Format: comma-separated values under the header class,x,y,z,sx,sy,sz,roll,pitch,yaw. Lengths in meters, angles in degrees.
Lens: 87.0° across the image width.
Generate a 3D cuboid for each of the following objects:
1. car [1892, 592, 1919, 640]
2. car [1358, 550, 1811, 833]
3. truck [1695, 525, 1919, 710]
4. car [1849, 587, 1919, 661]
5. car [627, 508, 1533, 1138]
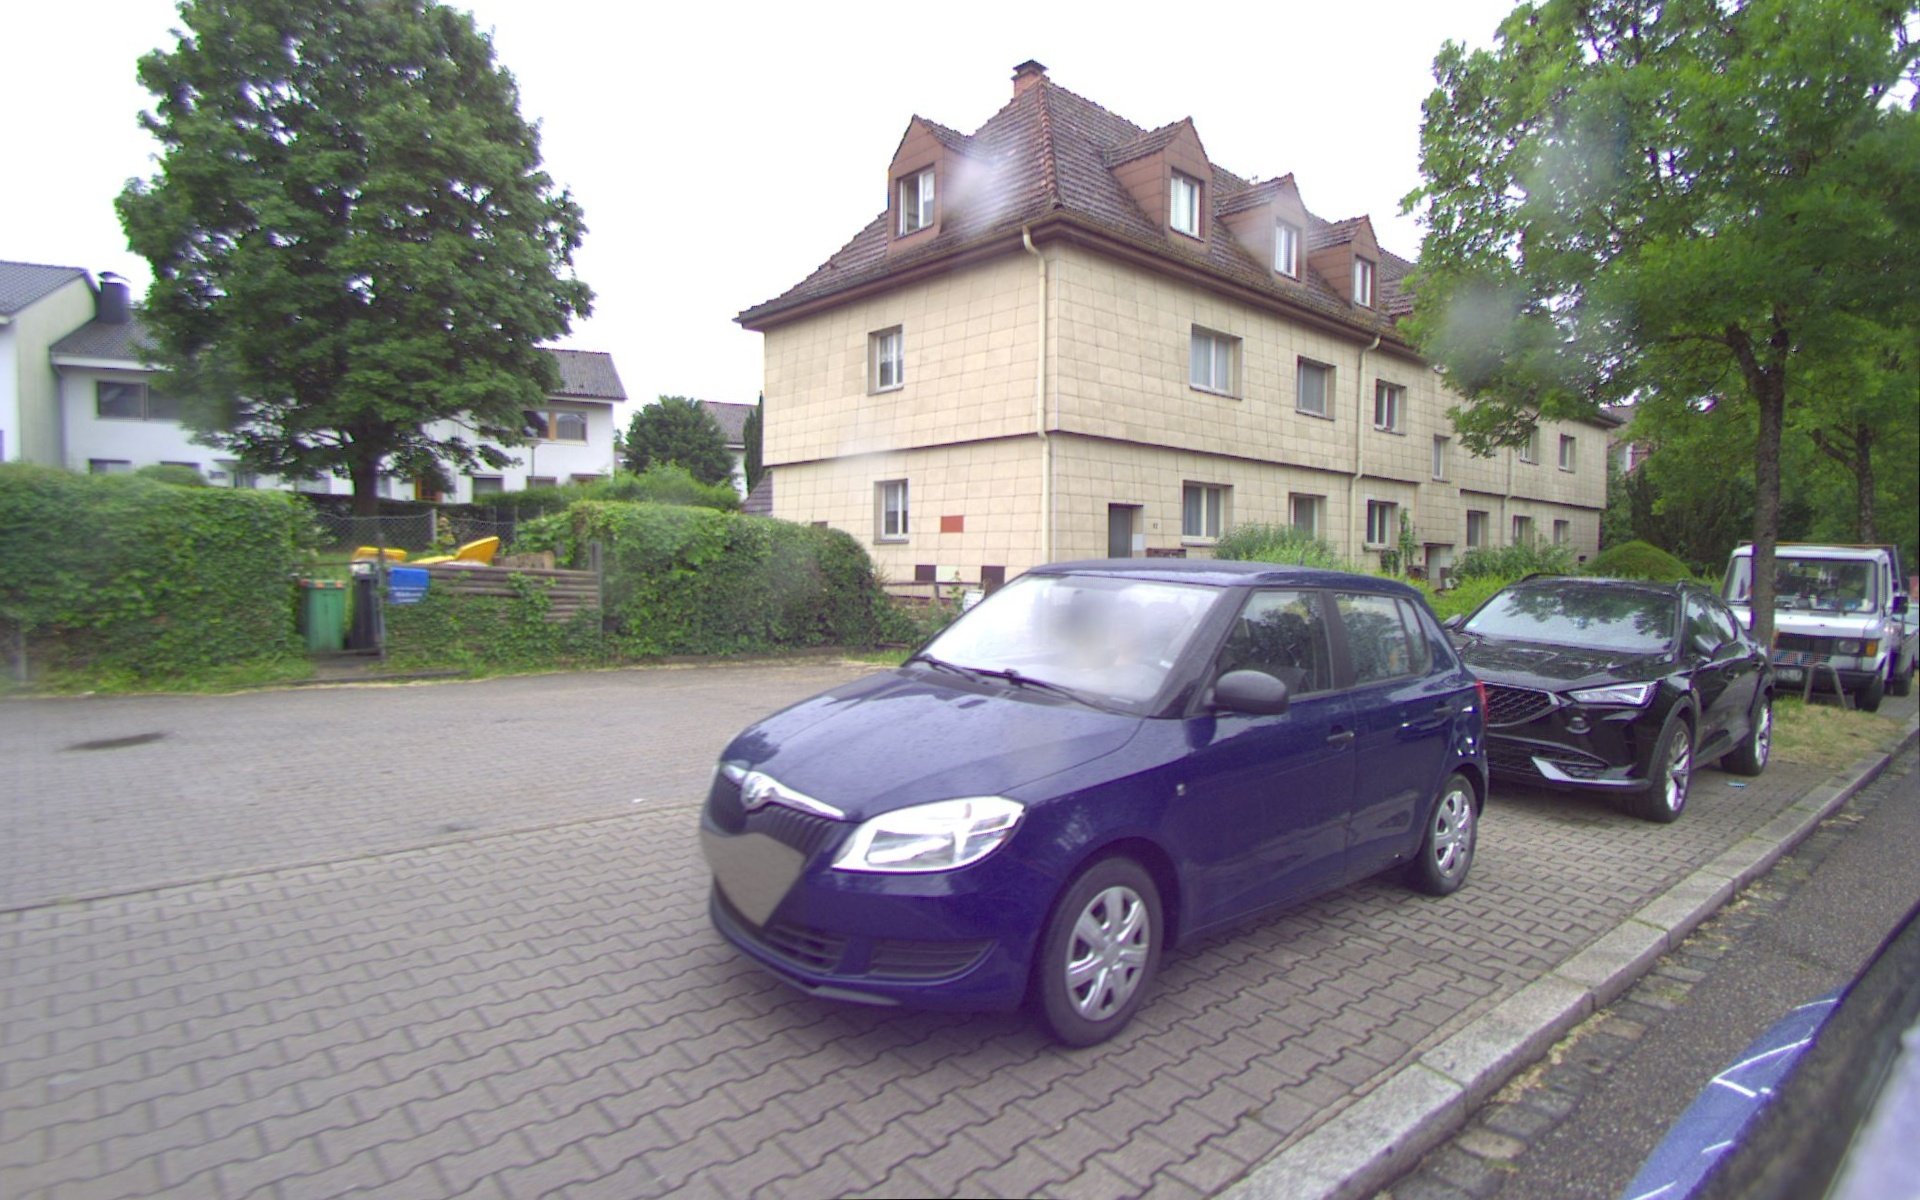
class,x,y,z,sx,sy,sz,roll,pitch,yaw
car,31.003,0.527,32.114,4.423,1.406,1.691,0,3,-43
car,4.872,0.490,7.648,4.110,1.517,1.718,0,4,-41
truck,13.311,0.167,15.441,6.391,2.248,2.084,0,4,-43
car,21.358,0.561,22.657,3.951,1.453,1.605,2,3,-41
car,0.780,0.492,4.262,3.789,1.489,1.608,0,4,-41
